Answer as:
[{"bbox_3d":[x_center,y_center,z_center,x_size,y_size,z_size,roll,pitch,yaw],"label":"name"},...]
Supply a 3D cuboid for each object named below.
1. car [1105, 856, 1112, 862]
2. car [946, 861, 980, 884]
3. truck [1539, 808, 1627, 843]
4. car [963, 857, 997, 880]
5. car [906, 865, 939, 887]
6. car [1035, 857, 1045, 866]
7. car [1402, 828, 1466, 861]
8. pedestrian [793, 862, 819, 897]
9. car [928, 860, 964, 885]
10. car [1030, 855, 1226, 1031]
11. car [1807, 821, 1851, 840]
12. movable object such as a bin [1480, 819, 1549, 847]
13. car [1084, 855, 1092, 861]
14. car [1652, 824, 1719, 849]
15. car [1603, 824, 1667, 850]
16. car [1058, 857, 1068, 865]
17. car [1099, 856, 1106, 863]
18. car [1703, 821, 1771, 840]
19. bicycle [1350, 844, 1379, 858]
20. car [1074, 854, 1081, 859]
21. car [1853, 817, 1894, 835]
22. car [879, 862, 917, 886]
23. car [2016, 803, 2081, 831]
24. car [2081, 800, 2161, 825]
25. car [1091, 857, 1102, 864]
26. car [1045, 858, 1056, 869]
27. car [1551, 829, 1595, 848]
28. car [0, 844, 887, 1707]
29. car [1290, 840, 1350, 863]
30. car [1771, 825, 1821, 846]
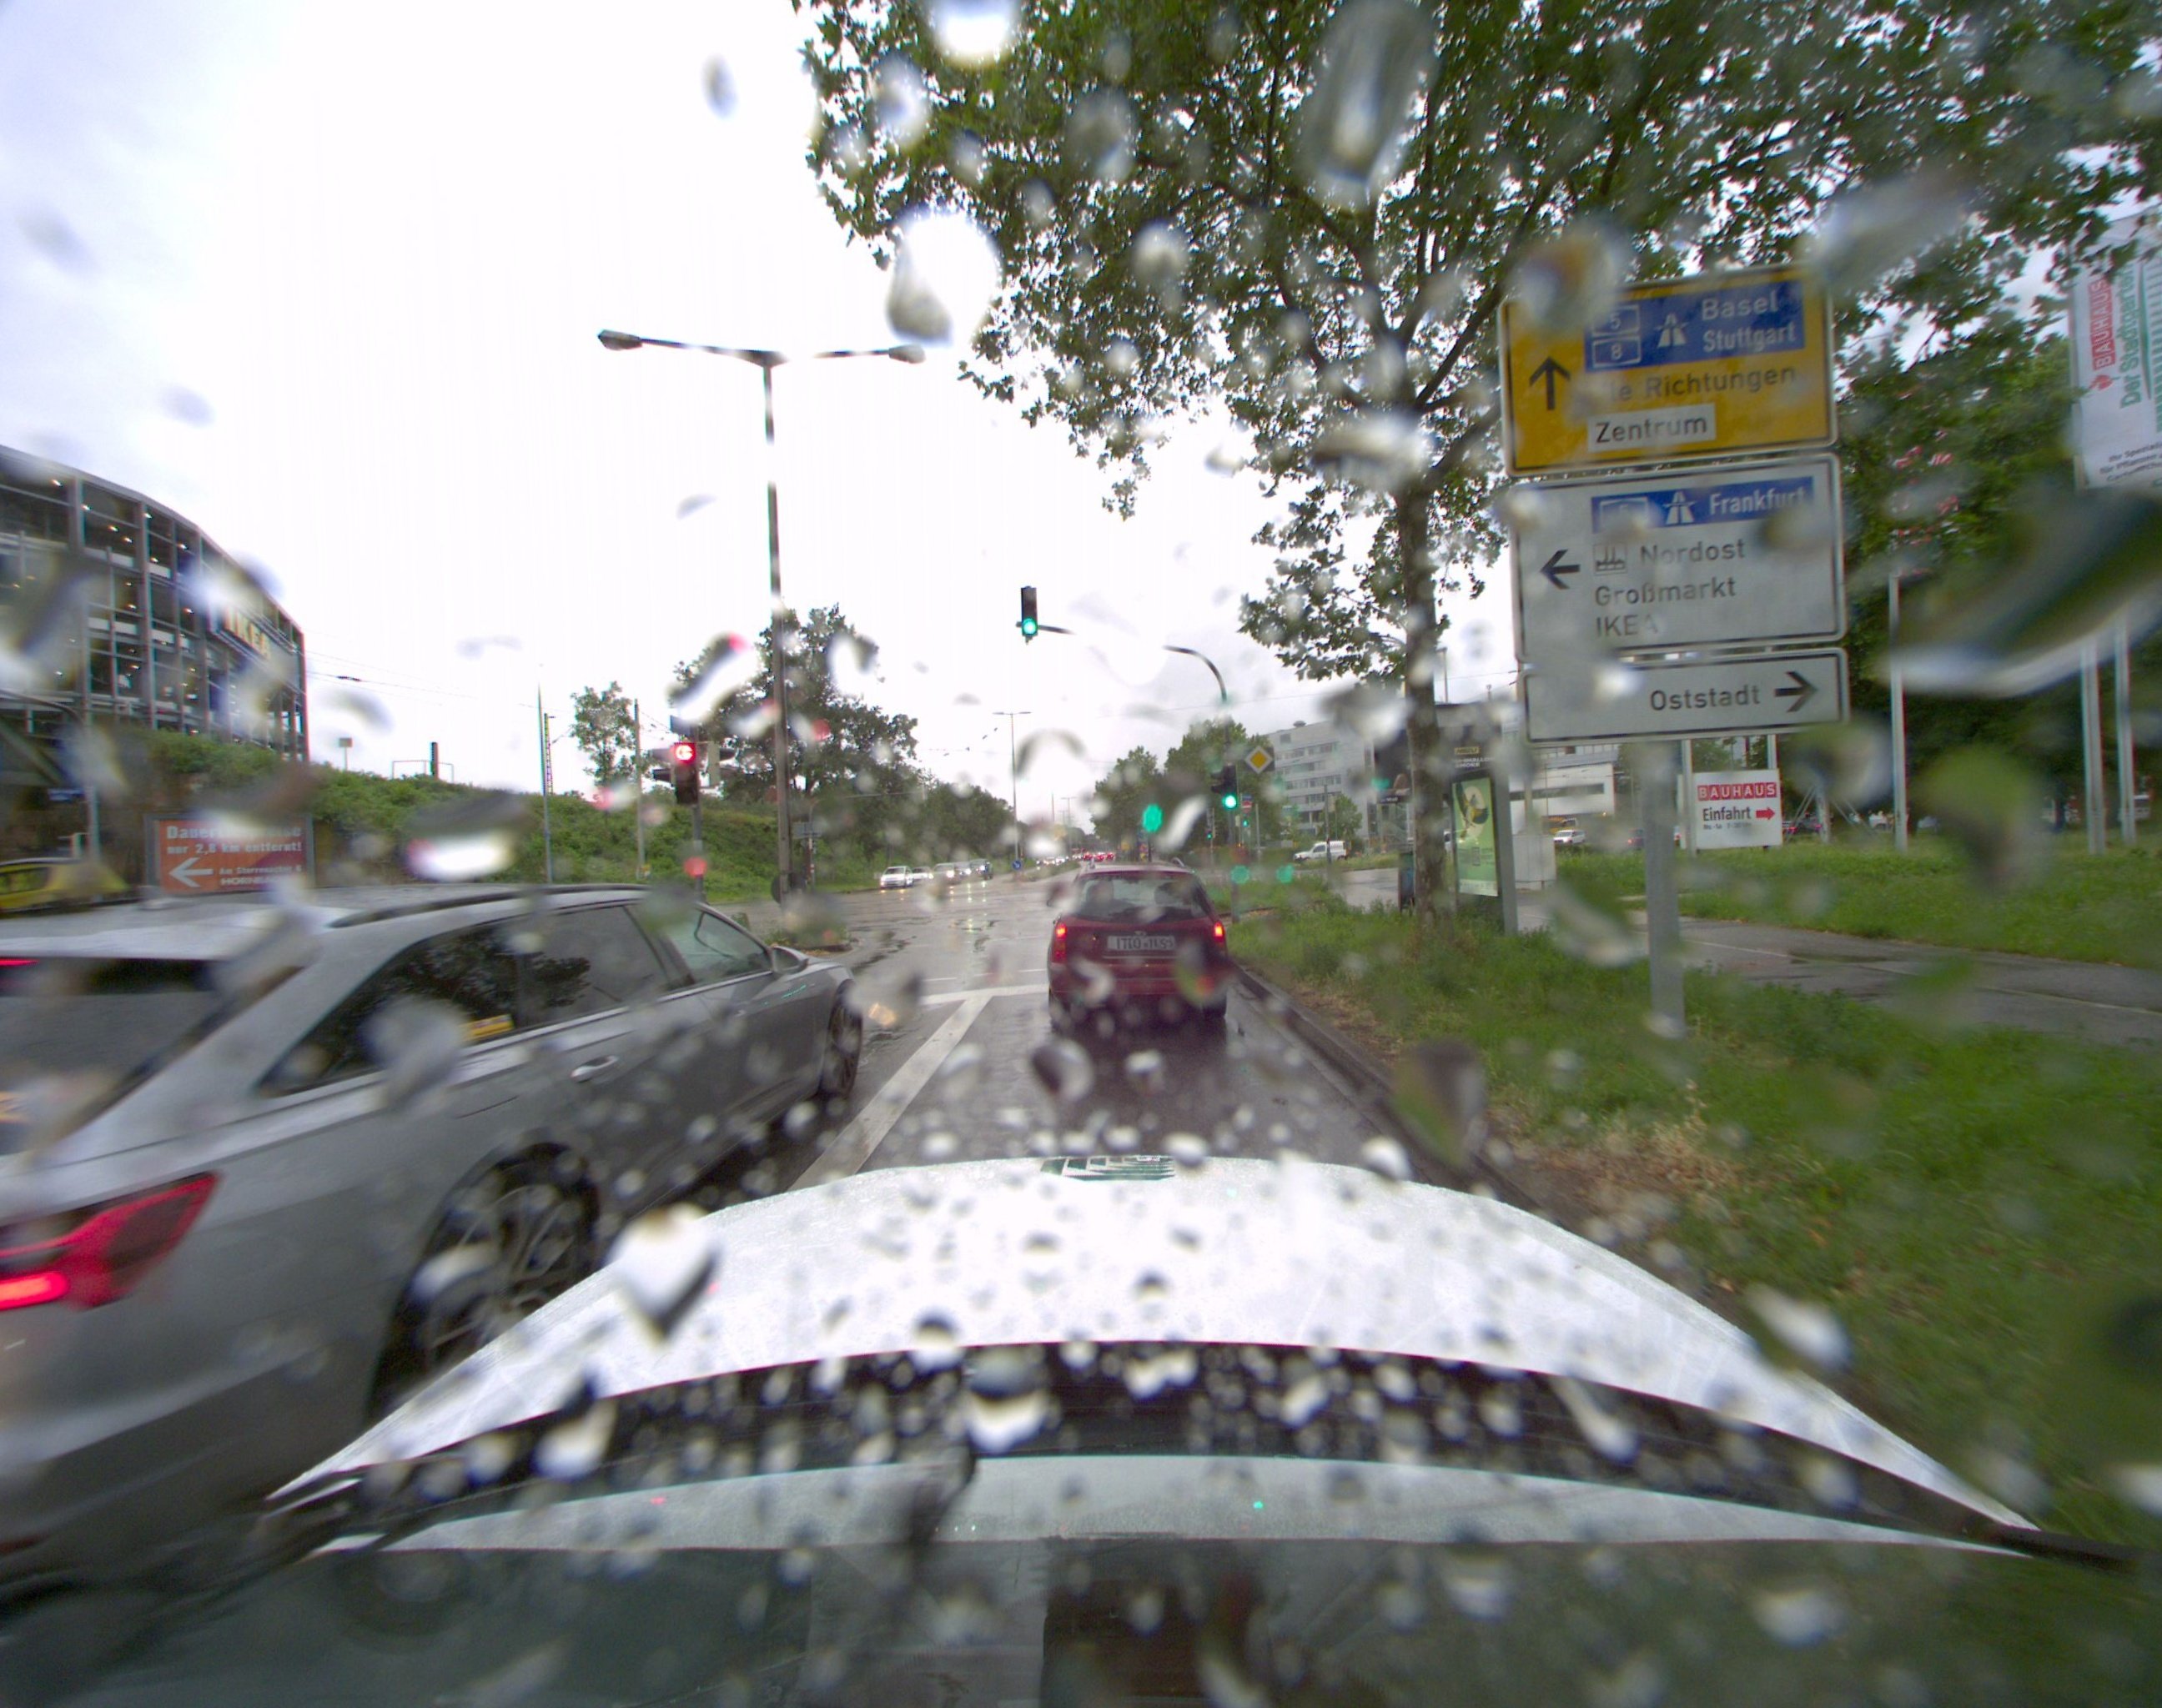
[{"bbox_3d":[7.158,1.335,210.123,1.664,1.528,3.849,-3,0,3],"label":"car"},{"bbox_3d":[-8.968,1.365,62.257,1.756,1.586,4.812,-3,-1,0],"label":"car"},{"bbox_3d":[57.791,-3.265,94.011,3.342,3.507,7.806,-3,0,-34],"label":"truck"},{"bbox_3d":[-8.686,1.194,70.235,2.058,1.819,5.542,-3,0,1],"label":"car"},{"bbox_3d":[-11.710,1.600,60.378,1.585,1.404,3.823,-3,0,1],"label":"car"},{"bbox_3d":[-8.465,1.552,168.643,1.738,1.702,4.284,0,0,1],"label":"car"},{"bbox_3d":[25.185,-0.692,58.018,4.709,2.125,1.978,-2,-1,-36],"label":"car"},{"bbox_3d":[-15.065,1.387,44.708,1.102,1.847,1.126,-3,-1,-10],"label":"pedestrian"},{"bbox_3d":[-9.076,1.216,54.983,1.632,1.473,3.965,-3,0,1],"label":"car"},{"bbox_3d":[0.420,0.754,8.714,1.636,1.465,3.733,0,0,1],"label":"car"},{"bbox_3d":[66.472,-2.082,72.342,4.645,1.586,1.906,-2,-1,-35],"label":"car"},{"bbox_3d":[53.584,-2.569,100.783,3.342,2.996,6.649,-3,0,-34],"label":"movable object such as a bin"},{"bbox_3d":[1.798,0.964,201.352,1.691,1.528,3.849,-3,0,3],"label":"car"},{"bbox_3d":[40.309,-1.166,54.292,4.847,1.491,1.907,-2,-1,-32],"label":"car"},{"bbox_3d":[33.639,-1.023,49.445,3.828,1.491,1.662,-1,-1,-30],"label":"car"},{"bbox_3d":[-4.174,1.680,188.335,1.956,1.702,4.285,-3,0,2],"label":"car"},{"bbox_3d":[5.094,1.272,192.669,1.691,1.528,3.849,-3,0,3],"label":"car"},{"bbox_3d":[66.260,-2.377,82.317,1.887,1.655,5.012,0,-1,-29],"label":"car"},{"bbox_3d":[24.203,-0.234,69.524,2.286,1.046,0.853,-3,-1,21],"label":"bicycle"},{"bbox_3d":[-1.214,0.852,254.393,1.956,1.597,4.285,-3,0,2],"label":"car"},{"bbox_3d":[76.856,-2.730,78.972,4.645,1.586,1.907,-2,-1,-34],"label":"car"},{"bbox_3d":[-12.109,1.309,53.999,1.633,1.452,3.786,-3,0,0],"label":"car"},{"bbox_3d":[59.383,-2.278,49.976,4.847,1.491,1.907,-2,-1,-32],"label":"car"},{"bbox_3d":[88.394,-3.515,67.983,2.287,1.731,5.899,-3,-1,-33],"label":"car"},{"bbox_3d":[3.474,1.523,183.870,2.138,1.528,4.197,-3,0,4],"label":"car"},{"bbox_3d":[-5.336,1.623,142.764,1.739,1.702,4.282,-4,0,-1],"label":"car"},{"bbox_3d":[46.438,-1.498,76.868,4.400,1.621,1.757,-3,0,-34],"label":"car"},{"bbox_3d":[-2.346,0.782,3.566,1.763,1.574,4.821,0,0,1],"label":"car"},{"bbox_3d":[18.910,-0.206,64.477,4.213,1.726,1.742,-1,0,2],"label":"car"},{"bbox_3d":[58.597,-1.522,66.758,4.644,1.586,1.907,-3,-1,-34],"label":"car"}]
